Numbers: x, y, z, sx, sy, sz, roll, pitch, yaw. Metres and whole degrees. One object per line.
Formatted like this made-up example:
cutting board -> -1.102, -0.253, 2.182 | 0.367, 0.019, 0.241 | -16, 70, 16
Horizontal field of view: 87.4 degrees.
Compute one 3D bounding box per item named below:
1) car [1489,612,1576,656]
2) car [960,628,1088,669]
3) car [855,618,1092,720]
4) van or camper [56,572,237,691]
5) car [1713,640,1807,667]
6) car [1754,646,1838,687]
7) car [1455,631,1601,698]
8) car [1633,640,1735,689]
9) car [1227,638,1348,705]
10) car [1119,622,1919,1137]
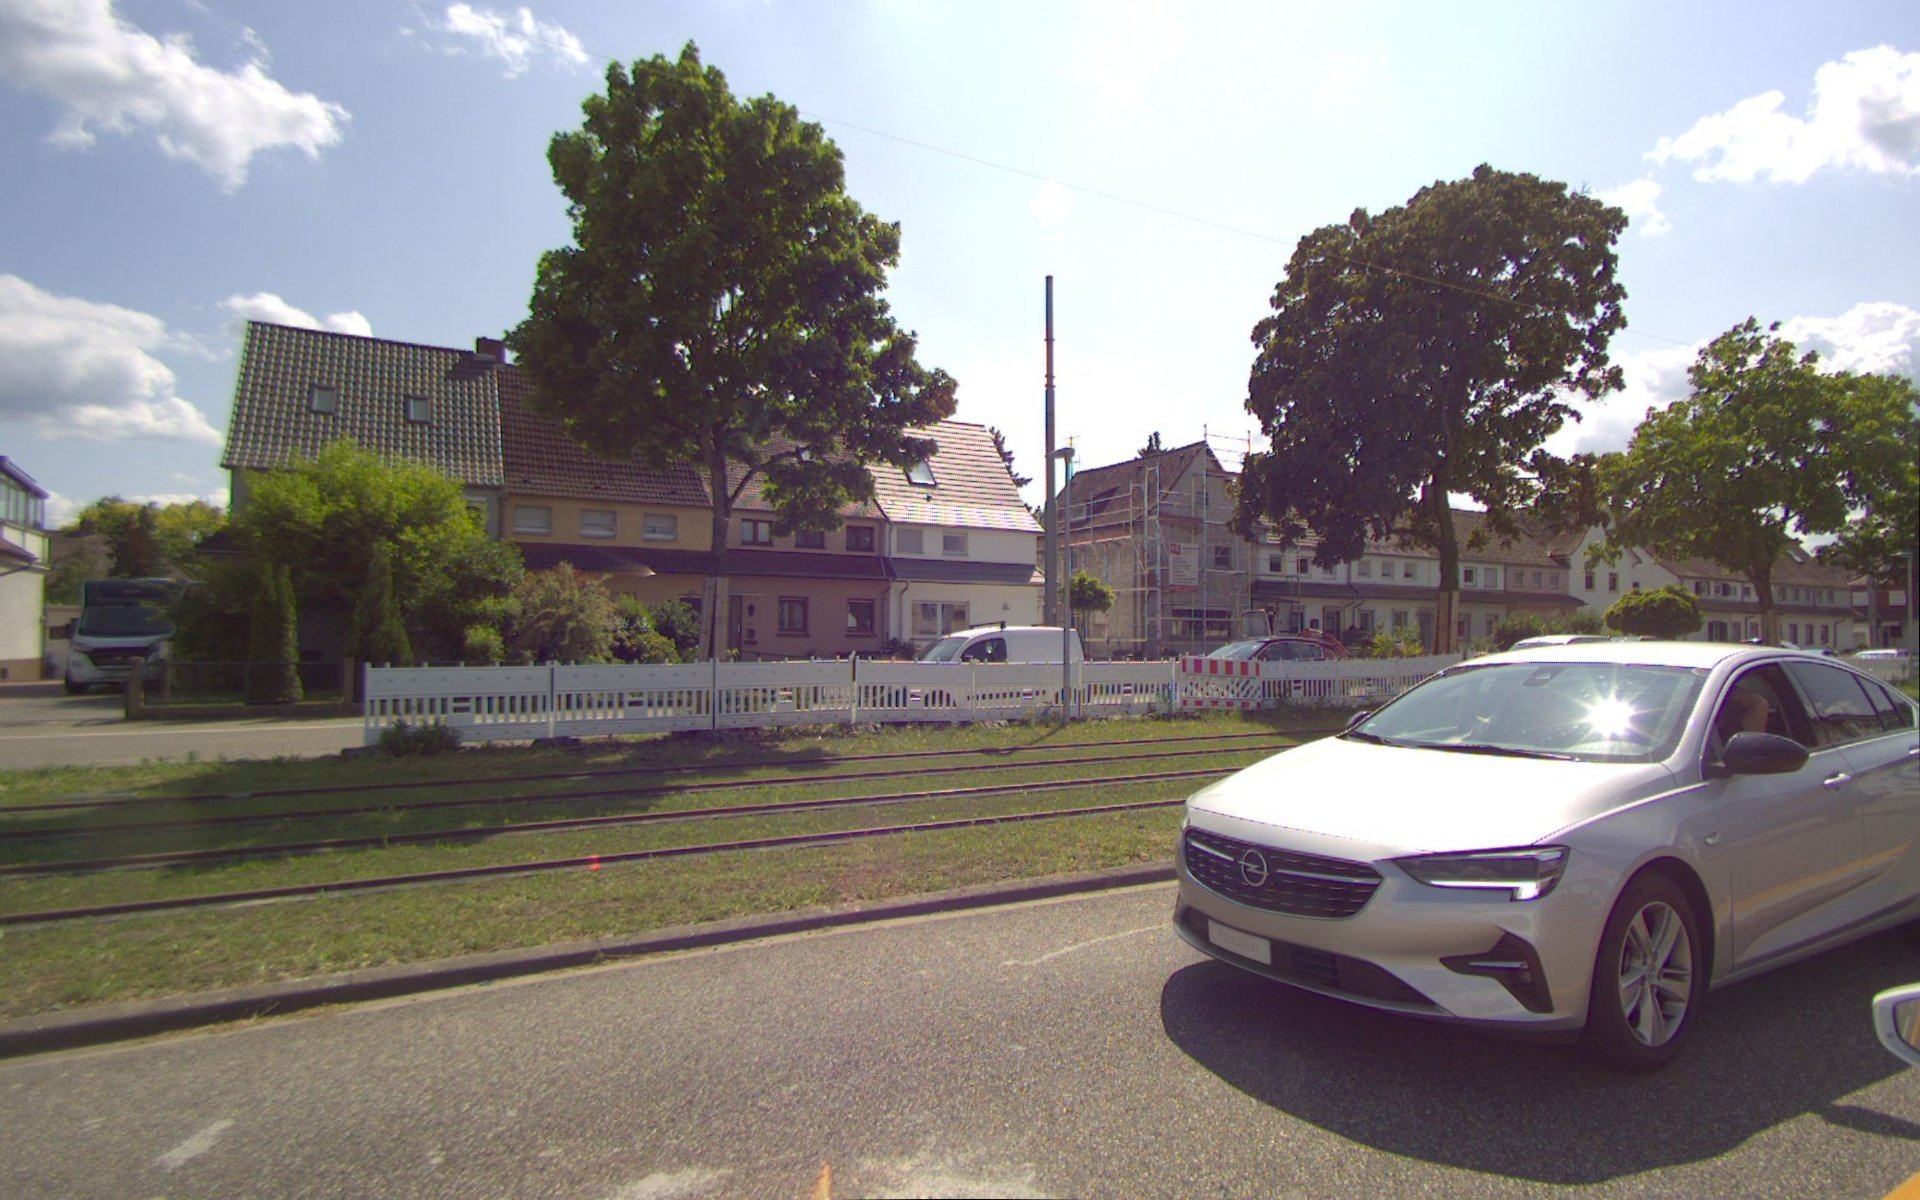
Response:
car -> 28.378, 1.668, 49.779 | 3.953, 2.040, 1.984 | 2, -1, -30
car -> 2.147, 1.617, 33.138 | 4.071, 1.291, 1.527 | 2, -4, -29
car -> 0.270, 1.227, 17.933 | 3.953, 1.647, 1.646 | 2, -3, -29
van or camper -> -20.549, 0.726, 25.747 | 2.470, 2.667, 6.305 | 2, -1, -29
car -> 46.970, 3.139, 59.038 | 1.705, 1.529, 3.968 | 2, -3, -30
car -> 29.211, 2.295, 35.081 | 3.135, 1.342, 1.333 | 2, -2, -32
car -> 15.113, 1.706, 26.703 | 3.852, 1.673, 1.616 | 2, -3, -29
car -> 21.883, 1.946, 30.355 | 3.077, 1.395, 1.344 | 2, -3, -29
car -> 7.000, 1.527, 21.461 | 2.416, 1.365, 1.069 | 2, -3, -26
car -> 3.061, 0.919, 4.804 | 4.431, 1.464, 1.813 | 2, -4, -30
